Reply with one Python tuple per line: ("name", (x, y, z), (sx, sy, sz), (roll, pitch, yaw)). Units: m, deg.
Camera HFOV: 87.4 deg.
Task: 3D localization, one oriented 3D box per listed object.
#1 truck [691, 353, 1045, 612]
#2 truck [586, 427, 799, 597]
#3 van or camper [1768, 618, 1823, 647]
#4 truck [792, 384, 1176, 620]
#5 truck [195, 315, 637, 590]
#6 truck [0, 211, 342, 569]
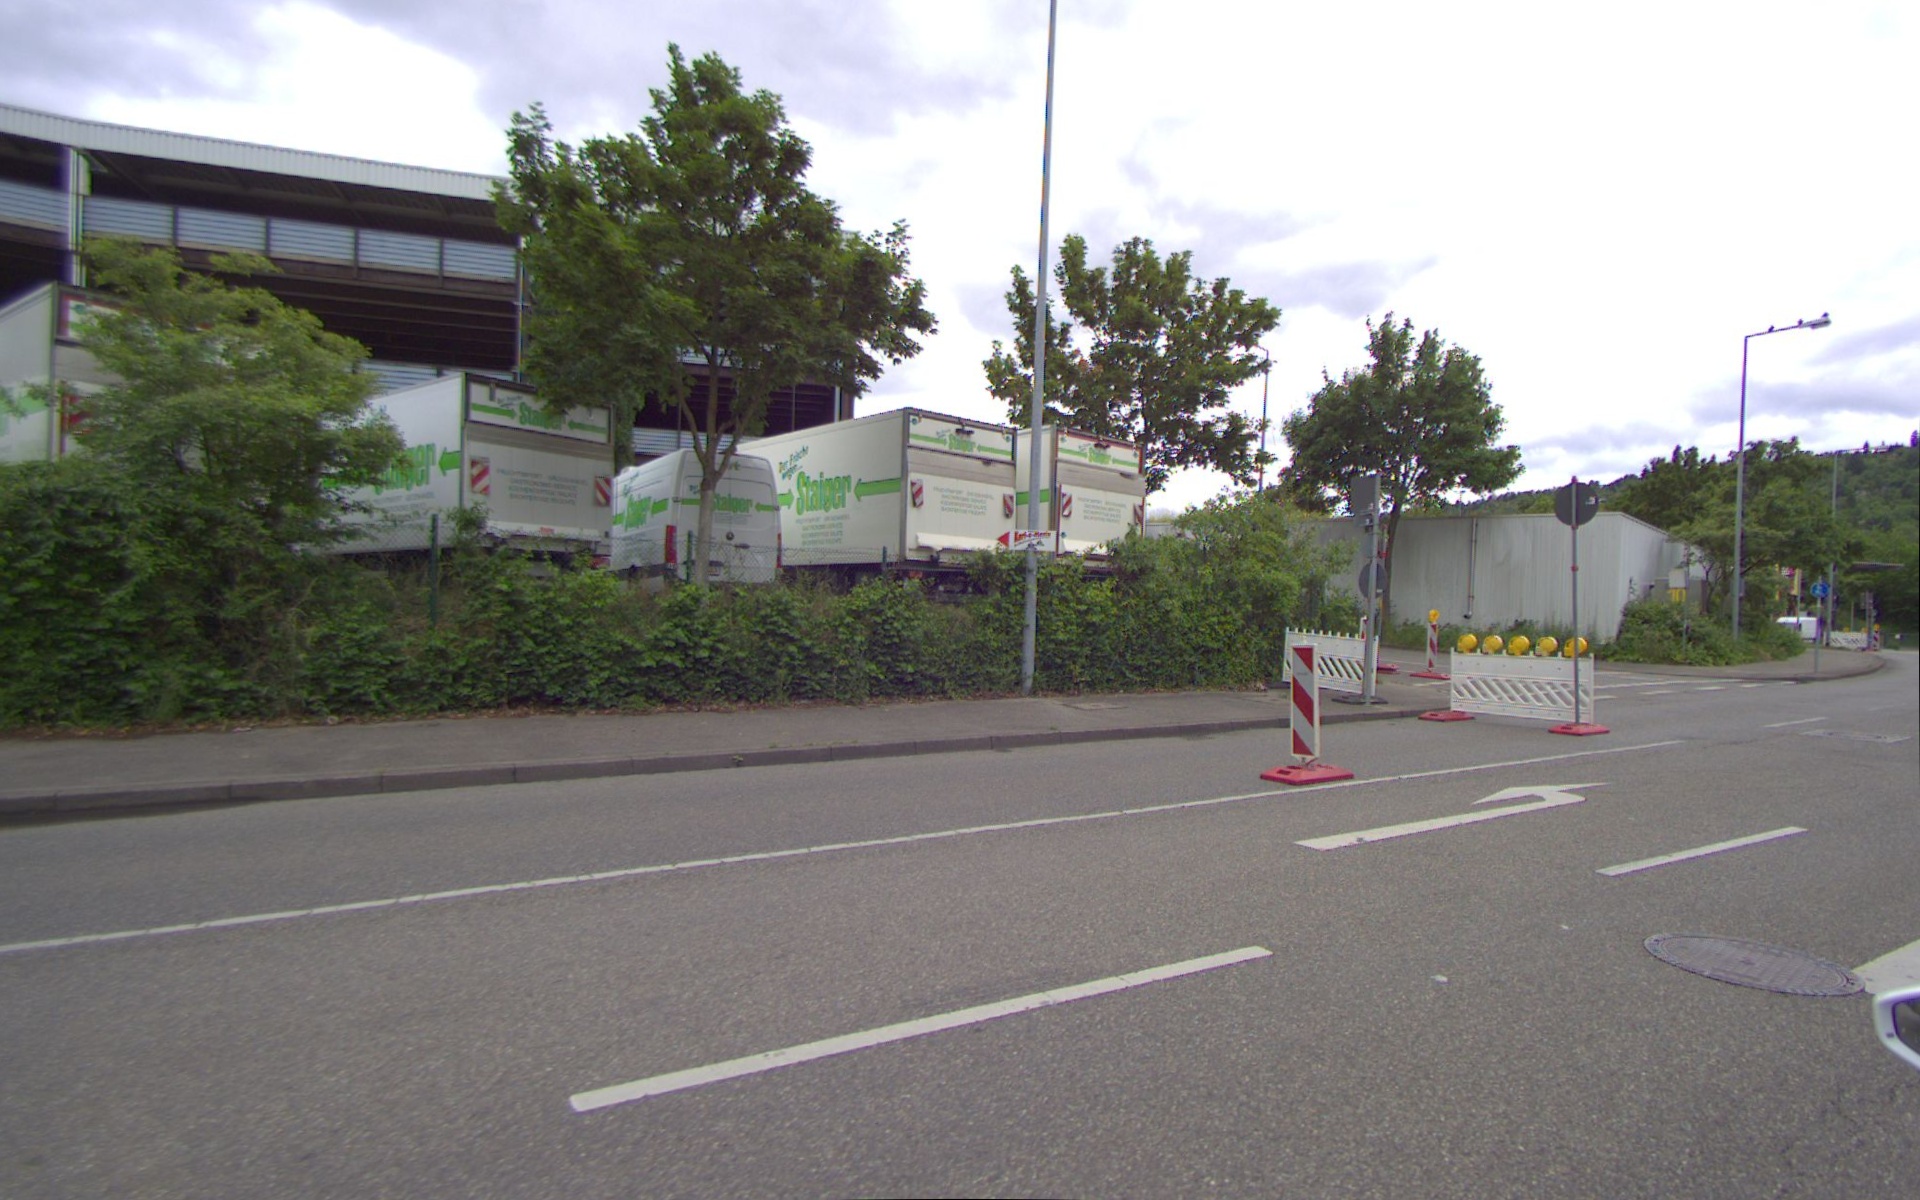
("truck", (-2.197, -2.017, 20.169), (3.028, 4.043, 7.774), (4, 0, -40))
("truck", (-4.864, -1.395, 17.720), (2.173, 2.437, 4.660), (4, 0, -33))
("van or camper", (78.576, 3.052, 94.410), (6.583, 2.356, 1.997), (4, -1, -33))
("truck", (0.008, -1.864, 22.461), (3.026, 4.043, 9.545), (3, 0, -38))
("truck", (-8.964, -2.046, 16.143), (7.737, 3.292, 3.043), (3, -1, 36))
("truck", (-12.216, -2.448, 14.185), (7.737, 3.584, 3.043), (3, -1, 36))
